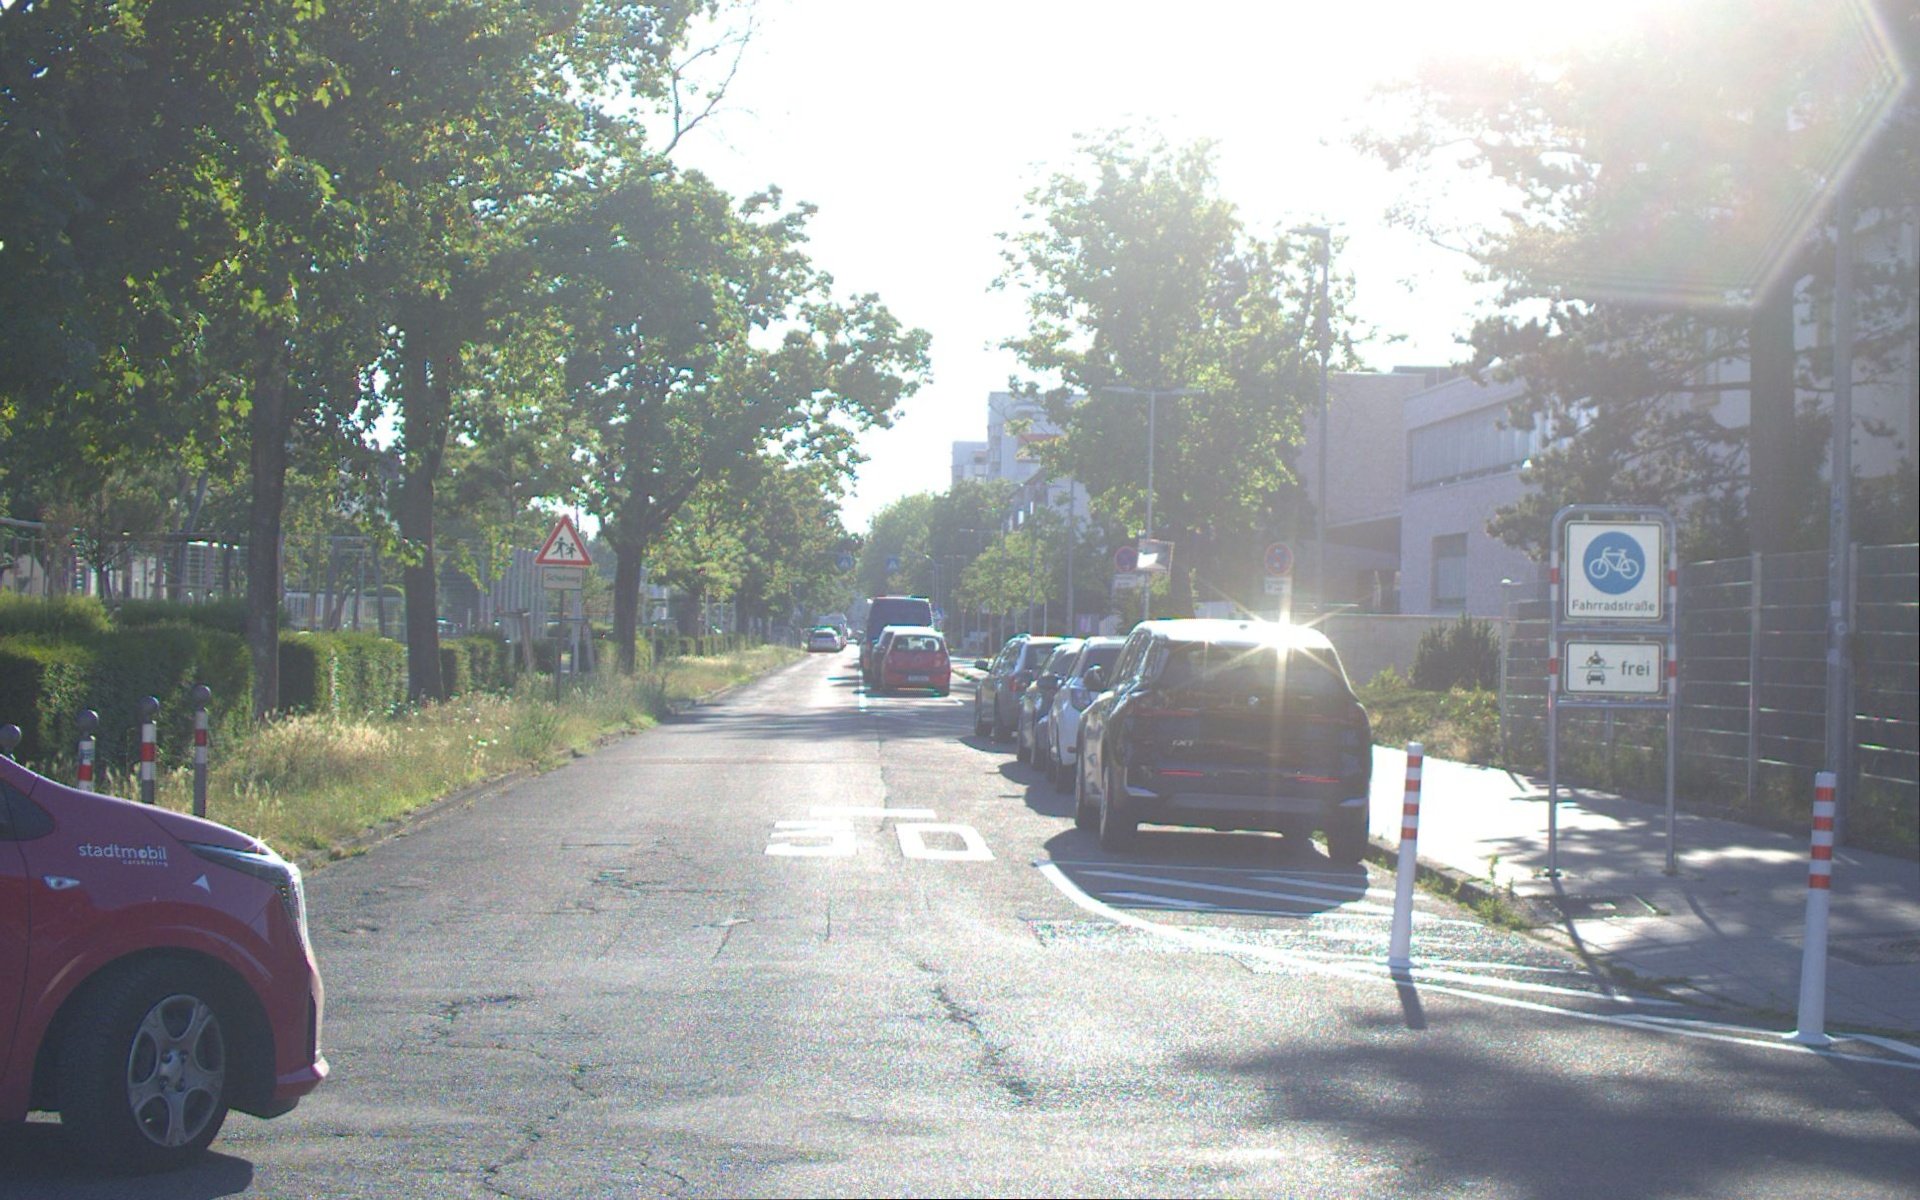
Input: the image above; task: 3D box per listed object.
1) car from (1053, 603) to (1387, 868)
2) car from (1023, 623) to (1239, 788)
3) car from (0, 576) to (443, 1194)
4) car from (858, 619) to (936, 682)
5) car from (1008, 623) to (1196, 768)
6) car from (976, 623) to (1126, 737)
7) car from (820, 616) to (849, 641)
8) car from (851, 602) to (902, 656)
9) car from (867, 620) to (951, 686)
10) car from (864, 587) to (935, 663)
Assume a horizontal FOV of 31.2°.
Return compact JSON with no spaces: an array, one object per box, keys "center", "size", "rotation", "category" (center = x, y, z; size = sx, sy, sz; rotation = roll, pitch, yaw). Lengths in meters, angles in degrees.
[{"center":[1.774,0.913,24.798],"size":[1.817,1.636,4.216],"rotation":[4,-1,-2],"category":"car"},{"center":[1.613,0.988,33.623],"size":[1.765,1.521,3.773],"rotation":[0,0,-2],"category":"car"},{"center":[-3.414,0.701,8.770],"size":[3.761,1.521,1.770],"rotation":[0,-1,-38],"category":"car"},{"center":[-1.620,1.253,86.937],"size":[1.729,1.513,3.760],"rotation":[1,0,-4],"category":"car"},{"center":[1.540,1.030,38.531],"size":[1.729,1.513,3.760],"rotation":[1,0,-3],"category":"car"},{"center":[1.227,1.081,47.700],"size":[1.765,1.521,3.773],"rotation":[0,0,-3],"category":"car"},{"center":[-8.380,1.904,229.826],"size":[1.865,1.612,4.000],"rotation":[1,0,-3],"category":"car"},{"center":[-3.403,1.169,139.393],"size":[1.993,2.116,4.000],"rotation":[1,0,-1],"category":"car"},{"center":[-1.245,1.258,82.610],"size":[1.756,1.513,3.760],"rotation":[1,0,-4],"category":"car"},{"center":[-1.781,0.730,100.178],"size":[1.993,2.116,4.000],"rotation":[1,0,-1],"category":"car"}]
